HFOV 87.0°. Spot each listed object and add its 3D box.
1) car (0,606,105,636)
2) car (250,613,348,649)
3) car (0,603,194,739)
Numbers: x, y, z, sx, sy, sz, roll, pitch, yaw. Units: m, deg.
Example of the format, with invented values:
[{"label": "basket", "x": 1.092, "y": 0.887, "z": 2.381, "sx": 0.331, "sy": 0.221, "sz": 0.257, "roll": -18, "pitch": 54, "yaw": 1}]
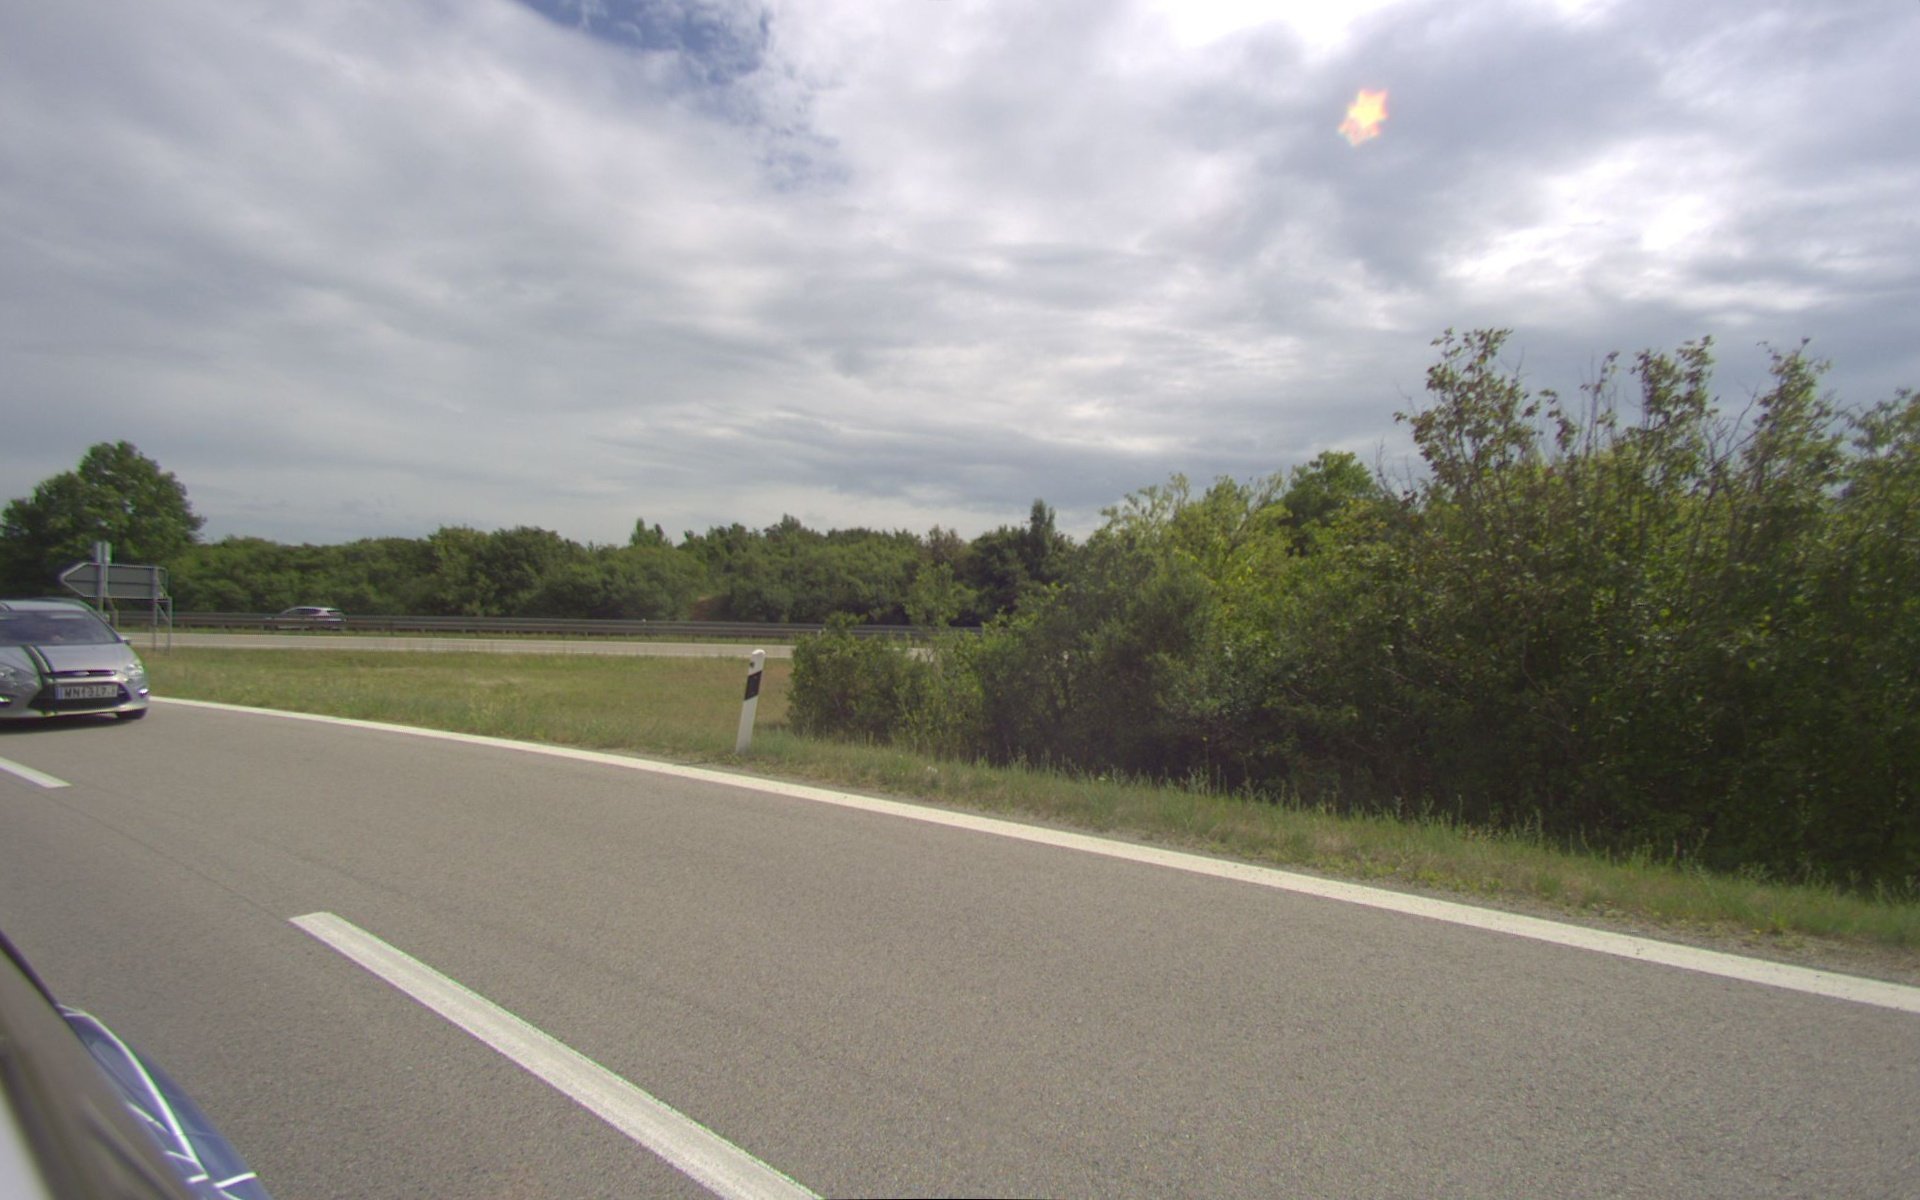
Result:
[{"label": "car", "x": -38.984, "y": 0.881, "z": 43.025, "sx": 3.641, "sy": 1.180, "sz": 1.998, "roll": 1, "pitch": -2, "yaw": 3}, {"label": "car", "x": -35.748, "y": 1.665, "z": 54.806, "sx": 4.151, "sy": 1.887, "sz": 1.843, "roll": -1, "pitch": 0, "yaw": 3}, {"label": "car", "x": -12.818, "y": 0.845, "z": 13.769, "sx": 4.564, "sy": 1.589, "sz": 2.009, "roll": 0, "pitch": -2, "yaw": 27}]
